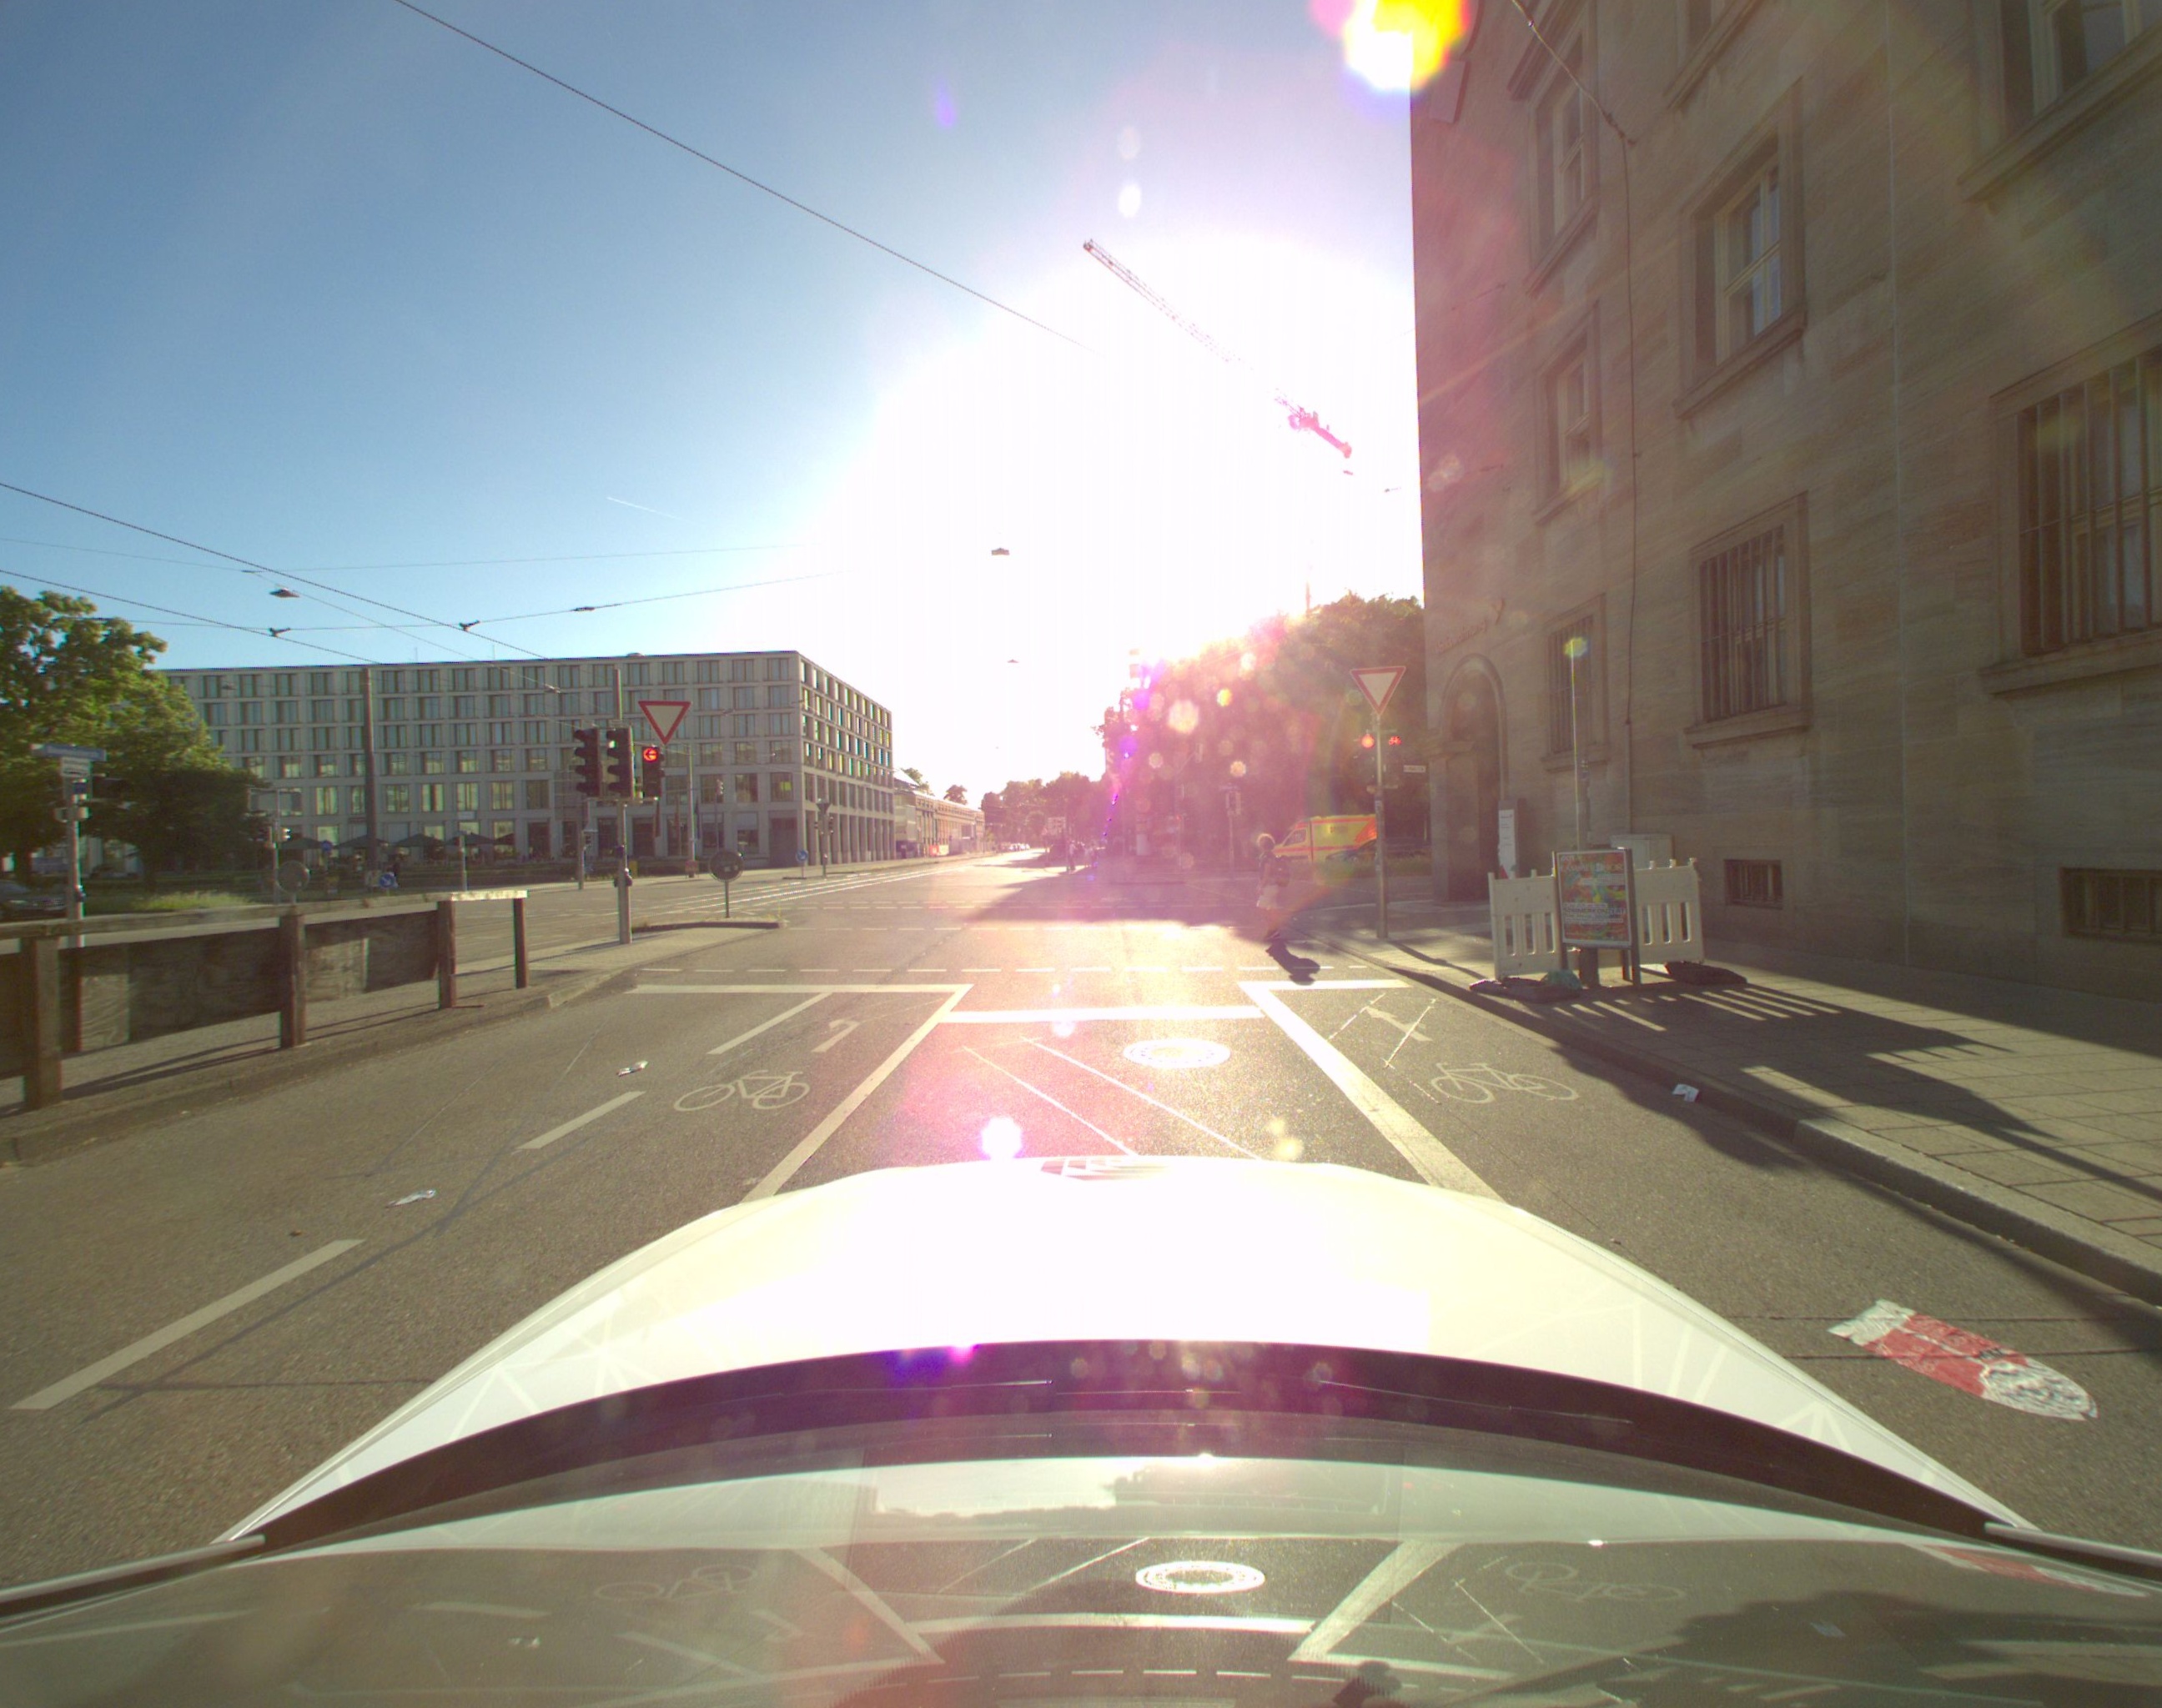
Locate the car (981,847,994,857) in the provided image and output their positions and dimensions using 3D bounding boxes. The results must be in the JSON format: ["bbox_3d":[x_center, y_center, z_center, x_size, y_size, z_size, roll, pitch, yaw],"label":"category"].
[{"bbox_3d":[-17.028,-0.436,148.876,1.812,1.712,3.807,-2,1,2],"label":"car"}]

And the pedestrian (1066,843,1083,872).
[{"bbox_3d":[-0.421,0.209,50.863,0.849,1.784,0.776,-2,0,-15],"label":"pedestrian"}]

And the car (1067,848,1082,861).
[{"bbox_3d":[-0.756,0.086,96.213,1.678,1.501,3.510,0,0,2],"label":"car"}]

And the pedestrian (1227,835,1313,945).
[{"bbox_3d":[3.115,0.569,13.508,1.039,1.720,1.032,-2,0,-10],"label":"pedestrian"}]

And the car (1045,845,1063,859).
[{"bbox_3d":[-2.879,-0.192,87.004,1.678,1.501,3.510,0,0,2],"label":"car"}]

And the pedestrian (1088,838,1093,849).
[{"bbox_3d":[2.831,-3.189,250.058,1.396,3.596,1.568,0,0,1],"label":"pedestrian"}]

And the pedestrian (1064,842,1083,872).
[{"bbox_3d":[-0.440,0.194,49.187,0.967,1.784,0.776,-2,0,-15],"label":"pedestrian"}]

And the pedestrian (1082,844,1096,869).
[{"bbox_3d":[0.501,0.171,51.069,0.763,1.558,0.585,-2,0,-15],"label":"pedestrian"}]

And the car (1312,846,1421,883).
[{"bbox_3d":[12.847,0.469,36.780,4.297,1.647,1.889,0,0,2],"label":"car"}]

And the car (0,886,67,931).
[{"bbox_3d":[-39.068,1.962,29.148,3.519,1.506,1.522,-1,0,-1],"label":"car"}]

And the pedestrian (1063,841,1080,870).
[{"bbox_3d":[-0.586,0.071,51.717,0.849,1.784,0.776,-2,0,-15],"label":"pedestrian"}]

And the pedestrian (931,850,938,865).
[{"bbox_3d":[-13.511,0.331,75.143,0.509,1.329,0.370,-1,0,3],"label":"pedestrian"}]

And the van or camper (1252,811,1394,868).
[{"bbox_3d":[12.474,-0.717,42.507,6.674,2.861,2.916,0,0,6],"label":"van or camper"}]

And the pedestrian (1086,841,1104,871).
[{"bbox_3d":[0.868,0.112,50.415,0.849,1.784,0.776,-2,0,-15],"label":"pedestrian"}]

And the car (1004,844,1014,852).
[{"bbox_3d":[-14.569,-1.244,164.705,1.603,1.498,3.807,-2,1,2],"label":"car"}]

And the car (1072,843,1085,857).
[{"bbox_3d":[-0.296,-0.554,111.830,1.678,1.961,3.510,0,0,2],"label":"car"}]

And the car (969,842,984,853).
[{"bbox_3d":[-17.748,-1.083,138.107,1.812,1.712,3.807,-2,1,2],"label":"car"}]

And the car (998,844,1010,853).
[{"bbox_3d":[-15.182,-1.112,160.796,1.812,1.712,3.807,-2,1,2],"label":"car"}]
